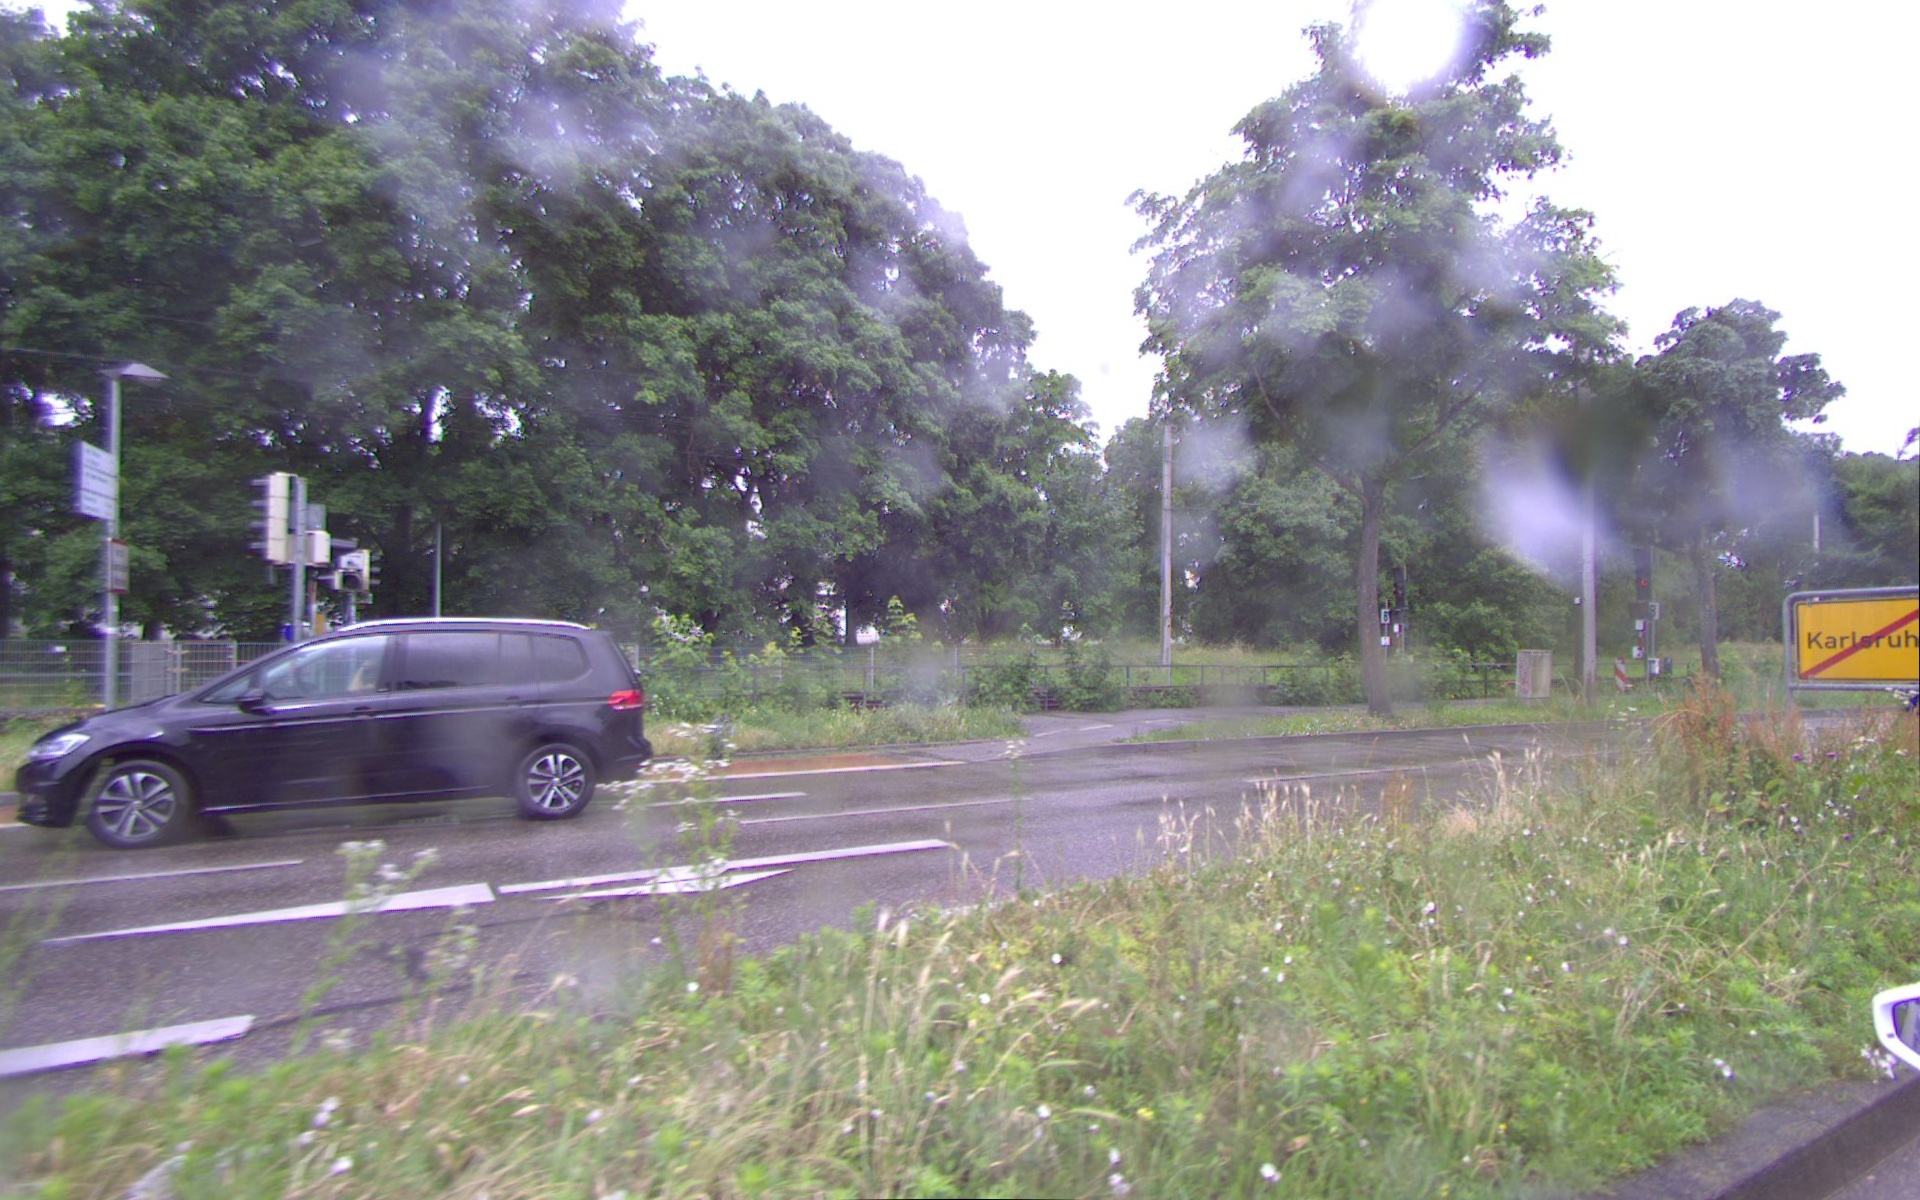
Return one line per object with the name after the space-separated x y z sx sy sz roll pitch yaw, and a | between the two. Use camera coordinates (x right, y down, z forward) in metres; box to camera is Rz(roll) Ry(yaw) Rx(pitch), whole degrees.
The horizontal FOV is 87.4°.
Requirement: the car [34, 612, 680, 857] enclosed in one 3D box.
-4.726 1.011 8.569 4.274 1.663 1.701 2 -4 -27 | car

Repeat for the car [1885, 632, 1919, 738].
17.165 1.368 16.461 4.086 1.671 1.736 2 -4 -29 | car
